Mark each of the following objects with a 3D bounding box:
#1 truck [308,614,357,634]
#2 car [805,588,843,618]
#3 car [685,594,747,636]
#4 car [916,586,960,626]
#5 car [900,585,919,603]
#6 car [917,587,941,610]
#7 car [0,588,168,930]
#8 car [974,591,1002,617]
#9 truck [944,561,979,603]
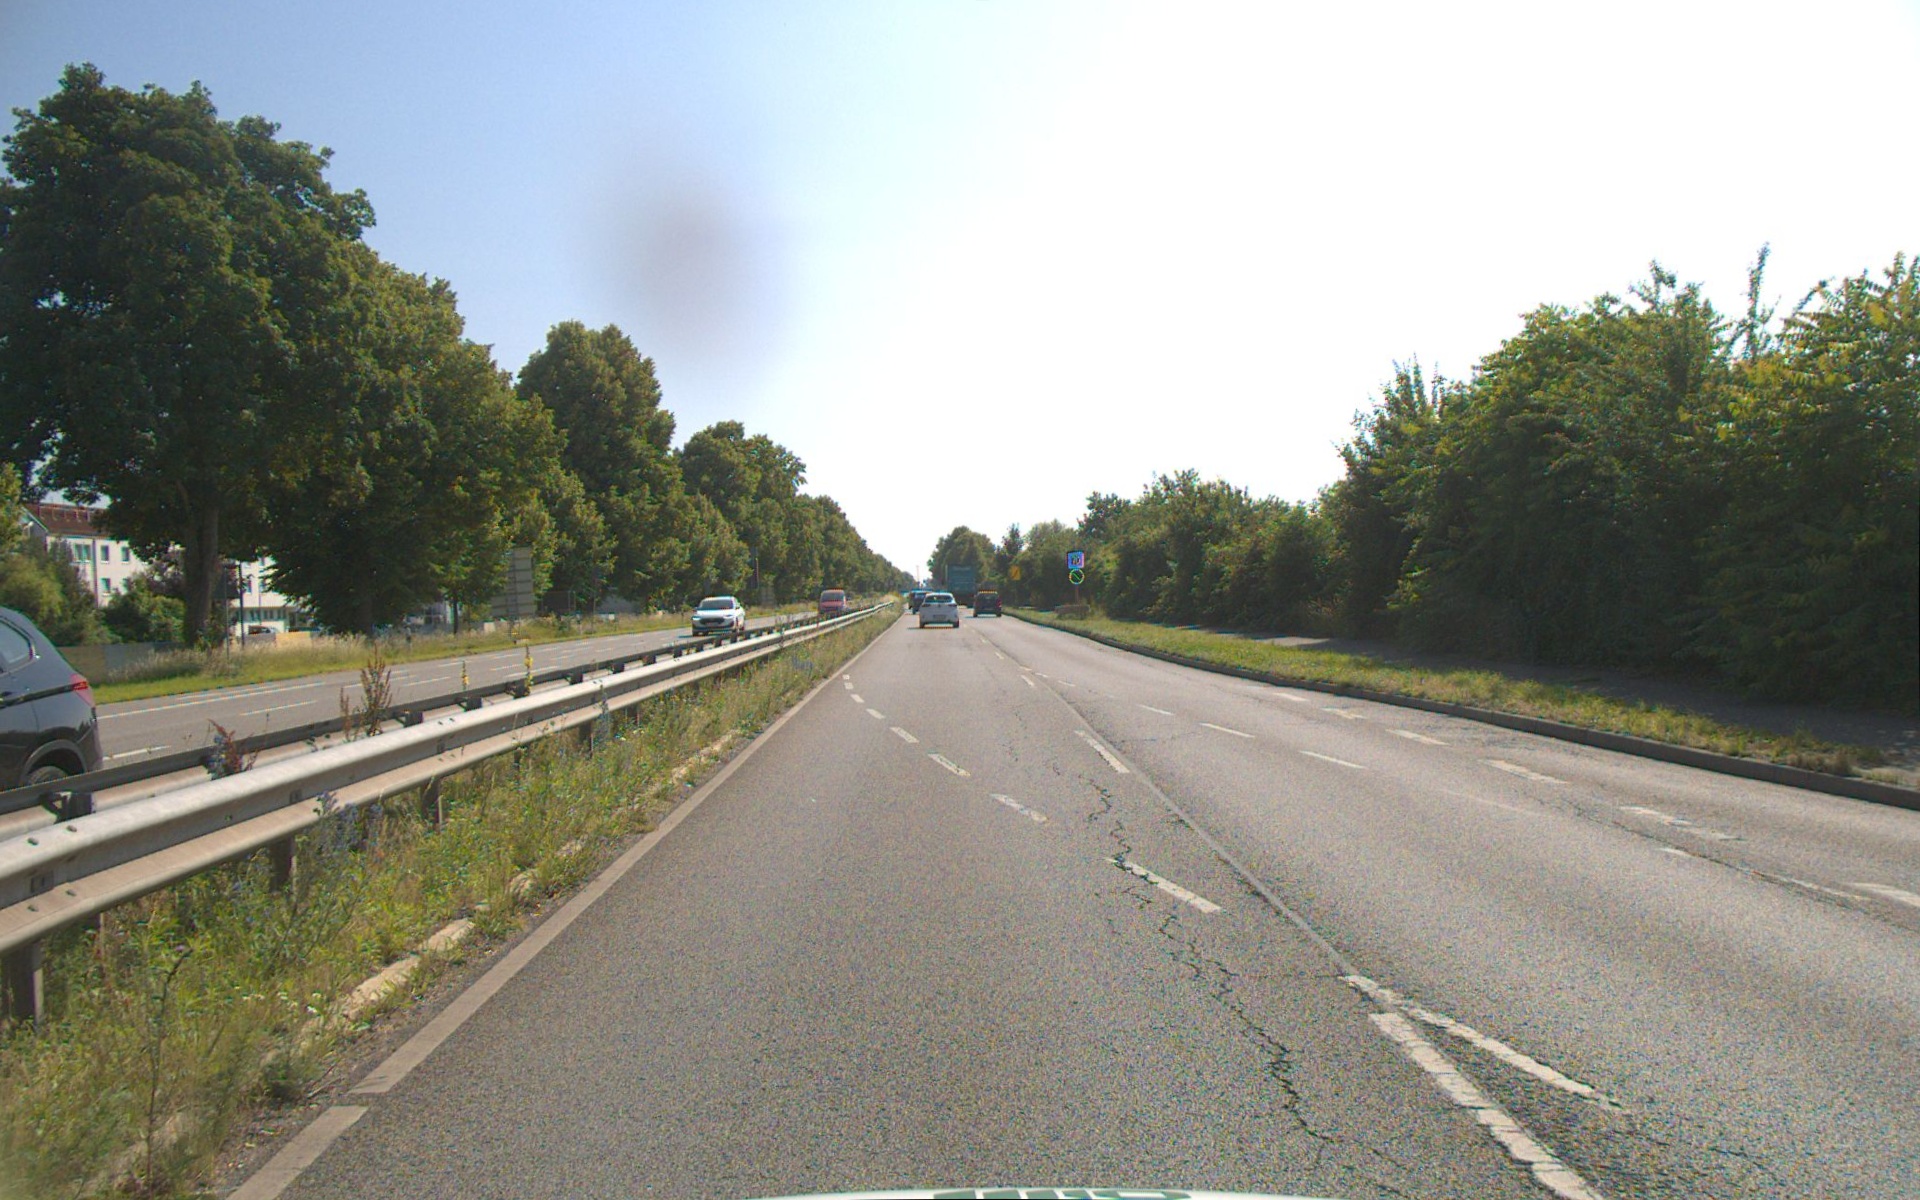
[{"bbox_3d":[-67.372,2.597,177.564,4.410,2.049,2.052,-1,0,-2],"label":"truck"},{"bbox_3d":[-7.647,0.155,93.320,1.874,1.528,4.089,-3,1,-2],"label":"car"},{"bbox_3d":[-9.779,0.588,66.465,1.954,1.528,4.089,-3,1,-2],"label":"car"},{"bbox_3d":[-0.918,0.242,70.591,1.762,1.580,4.000,-1,1,0],"label":"car"},{"bbox_3d":[-4.450,-0.519,145.119,1.540,1.439,3.277,-2,1,-1],"label":"car"},{"bbox_3d":[-2.056,-0.125,110.410,1.540,1.439,3.277,-2,1,-1],"label":"car"},{"bbox_3d":[-5.459,0.786,7.259,1.809,1.622,4.615,-2,0,-2],"label":"car"},{"bbox_3d":[1.631,0.246,96.563,1.540,1.439,3.277,-2,0,-1],"label":"car"},{"bbox_3d":[0.085,-1.637,147.629,2.833,3.488,9.168,-2,1,-1],"label":"truck"}]
